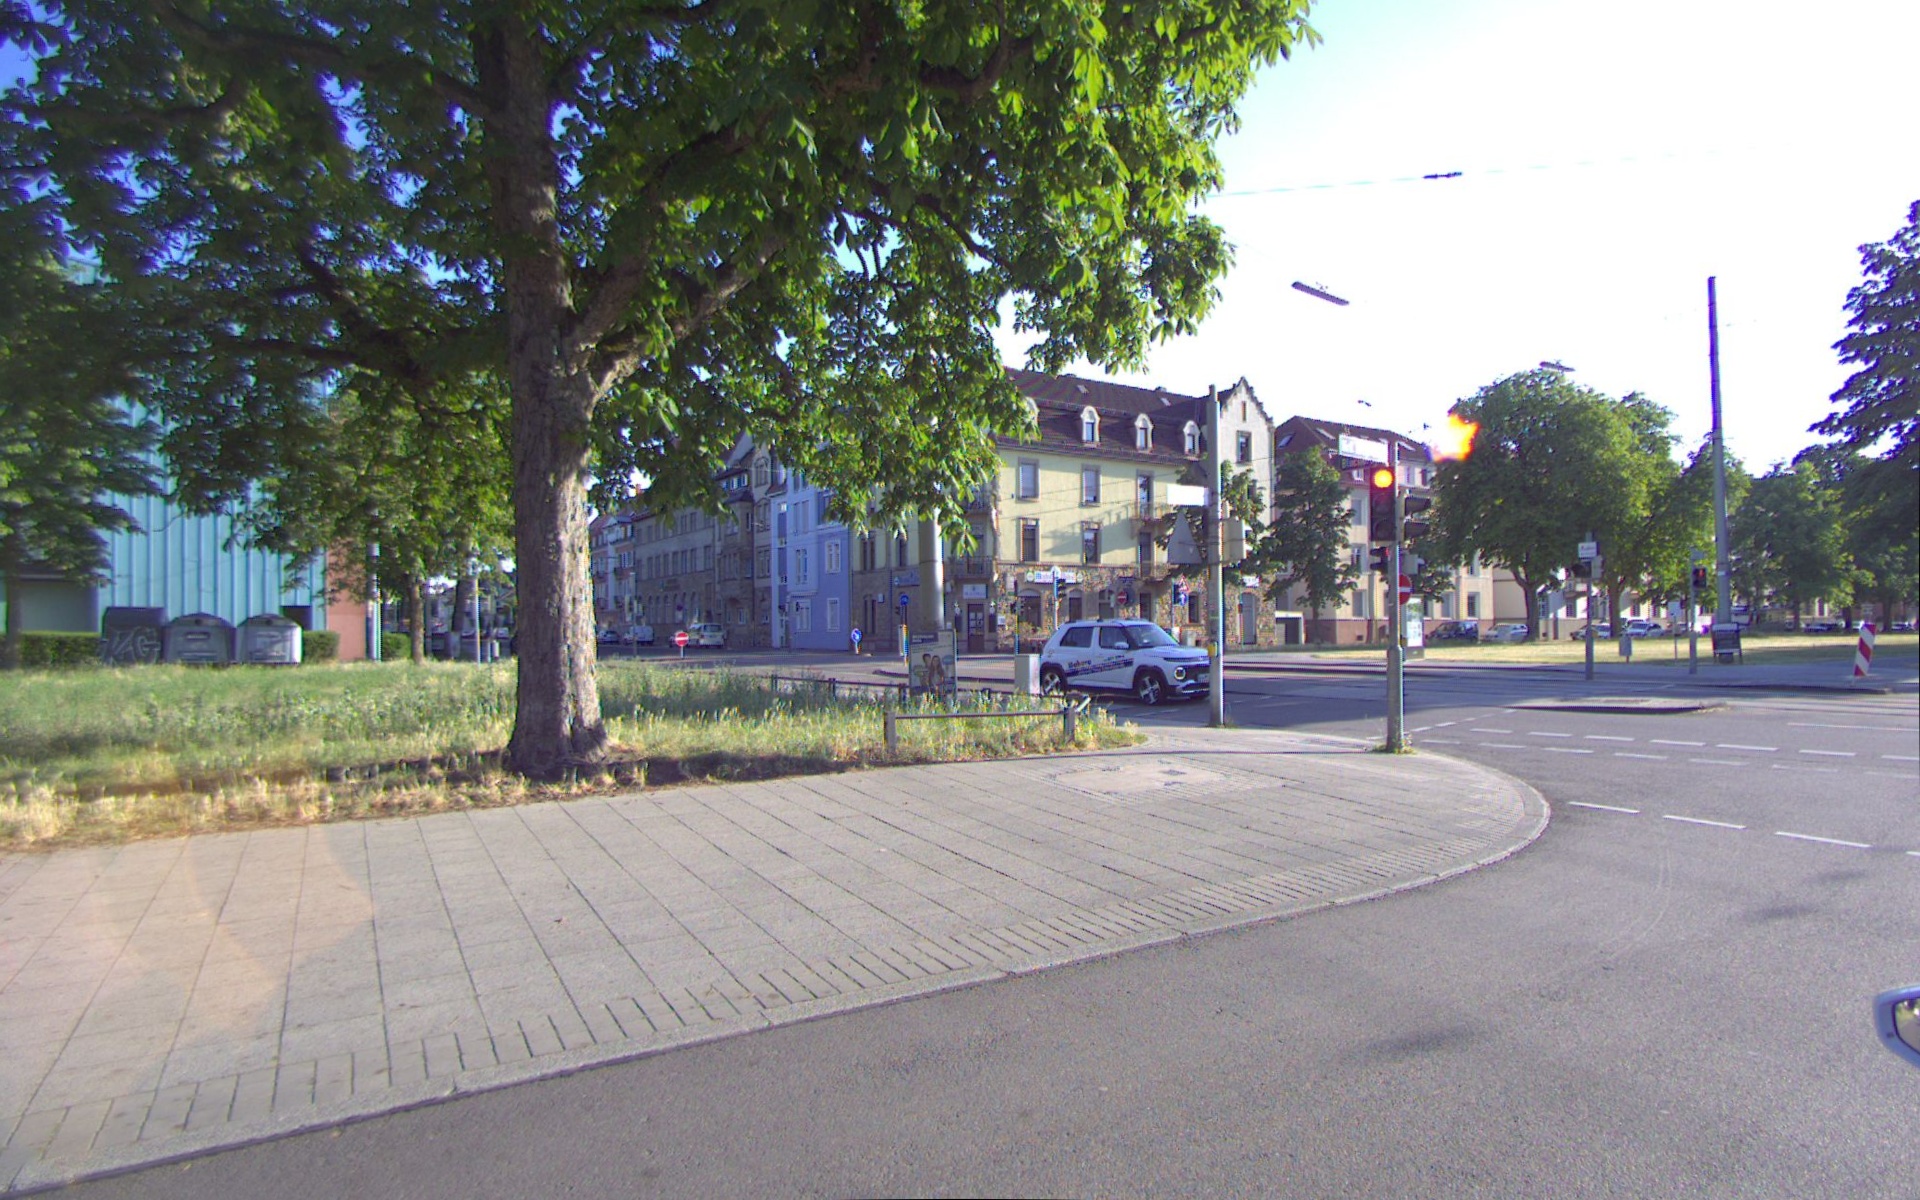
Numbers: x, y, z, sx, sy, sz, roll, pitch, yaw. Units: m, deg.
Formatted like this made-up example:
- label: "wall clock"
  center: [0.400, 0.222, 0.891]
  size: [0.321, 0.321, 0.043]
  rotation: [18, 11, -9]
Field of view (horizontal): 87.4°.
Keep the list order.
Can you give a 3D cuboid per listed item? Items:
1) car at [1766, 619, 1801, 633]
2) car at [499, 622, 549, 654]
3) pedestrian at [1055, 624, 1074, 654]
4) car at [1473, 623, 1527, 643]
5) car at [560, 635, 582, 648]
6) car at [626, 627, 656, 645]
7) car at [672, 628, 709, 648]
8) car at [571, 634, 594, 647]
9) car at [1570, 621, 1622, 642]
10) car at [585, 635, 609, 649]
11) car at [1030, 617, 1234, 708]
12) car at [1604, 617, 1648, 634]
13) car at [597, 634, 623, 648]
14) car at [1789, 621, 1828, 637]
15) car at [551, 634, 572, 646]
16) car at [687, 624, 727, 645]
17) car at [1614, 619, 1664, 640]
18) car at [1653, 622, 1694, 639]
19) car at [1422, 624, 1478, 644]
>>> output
- label: "car"
  center: [86.260, 2.689, 105.204]
  size: [3.749, 1.446, 1.729]
  rotation: [0, -1, -31]
- label: "car"
  center: [-24.109, 2.090, 55.431]
  size: [1.859, 1.685, 4.523]
  rotation: [0, -1, -32]
- label: "pedestrian"
  center: [5.879, 2.206, 56.397]
  size: [0.803, 1.664, 0.723]
  rotation: [0, -1, -19]
- label: "car"
  center: [41.087, 2.466, 76.400]
  size: [3.741, 1.446, 1.732]
  rotation: [0, -1, -26]
- label: "car"
  center: [-45.712, 4.851, 117.990]
  size: [1.867, 1.433, 4.013]
  rotation: [0, -2, -29]
- label: "car"
  center: [-29.914, 3.400, 94.218]
  size: [1.888, 1.610, 4.013]
  rotation: [2, -2, -29]
- label: "car"
  center: [-22.405, 3.116, 83.346]
  size: [2.074, 1.612, 4.014]
  rotation: [2, -2, -29]
- label: "car"
  center: [-42.690, 4.598, 113.493]
  size: [1.867, 1.433, 4.013]
  rotation: [0, -2, -29]
- label: "car"
  center: [46.305, 2.286, 73.145]
  size: [3.749, 1.446, 1.729]
  rotation: [0, -1, -31]
- label: "car"
  center: [-39.278, 4.523, 108.693]
  size: [1.867, 1.433, 4.013]
  rotation: [0, -2, -29]
- label: "car"
  center: [3.318, 1.211, 19.926]
  size: [1.599, 1.572, 3.832]
  rotation: [-2, -1, -40]
- label: "car"
  center: [57.691, 2.206, 87.032]
  size: [3.749, 1.446, 1.729]
  rotation: [0, -1, -31]
- label: "car"
  center: [-36.237, 4.234, 103.997]
  size: [1.867, 1.299, 4.013]
  rotation: [0, -2, -29]
- label: "car"
  center: [80.345, 2.710, 95.075]
  size: [3.749, 1.446, 1.729]
  rotation: [1, -1, -31]
- label: "car"
  center: [-48.658, 4.824, 122.494]
  size: [1.867, 1.433, 4.013]
  rotation: [0, -1, -29]
- label: "car"
  center: [-19.870, 2.709, 78.674]
  size: [2.074, 1.612, 4.014]
  rotation: [2, -2, -29]
- label: "car"
  center: [51.563, 2.214, 76.288]
  size: [3.748, 1.446, 1.729]
  rotation: [-1, 0, -31]
- label: "car"
  center: [65.906, 2.808, 92.780]
  size: [3.749, 1.446, 1.729]
  rotation: [1, -1, -31]
- label: "car"
  center: [35.647, 2.430, 73.018]
  size: [3.741, 1.416, 1.733]
  rotation: [0, -1, -26]
